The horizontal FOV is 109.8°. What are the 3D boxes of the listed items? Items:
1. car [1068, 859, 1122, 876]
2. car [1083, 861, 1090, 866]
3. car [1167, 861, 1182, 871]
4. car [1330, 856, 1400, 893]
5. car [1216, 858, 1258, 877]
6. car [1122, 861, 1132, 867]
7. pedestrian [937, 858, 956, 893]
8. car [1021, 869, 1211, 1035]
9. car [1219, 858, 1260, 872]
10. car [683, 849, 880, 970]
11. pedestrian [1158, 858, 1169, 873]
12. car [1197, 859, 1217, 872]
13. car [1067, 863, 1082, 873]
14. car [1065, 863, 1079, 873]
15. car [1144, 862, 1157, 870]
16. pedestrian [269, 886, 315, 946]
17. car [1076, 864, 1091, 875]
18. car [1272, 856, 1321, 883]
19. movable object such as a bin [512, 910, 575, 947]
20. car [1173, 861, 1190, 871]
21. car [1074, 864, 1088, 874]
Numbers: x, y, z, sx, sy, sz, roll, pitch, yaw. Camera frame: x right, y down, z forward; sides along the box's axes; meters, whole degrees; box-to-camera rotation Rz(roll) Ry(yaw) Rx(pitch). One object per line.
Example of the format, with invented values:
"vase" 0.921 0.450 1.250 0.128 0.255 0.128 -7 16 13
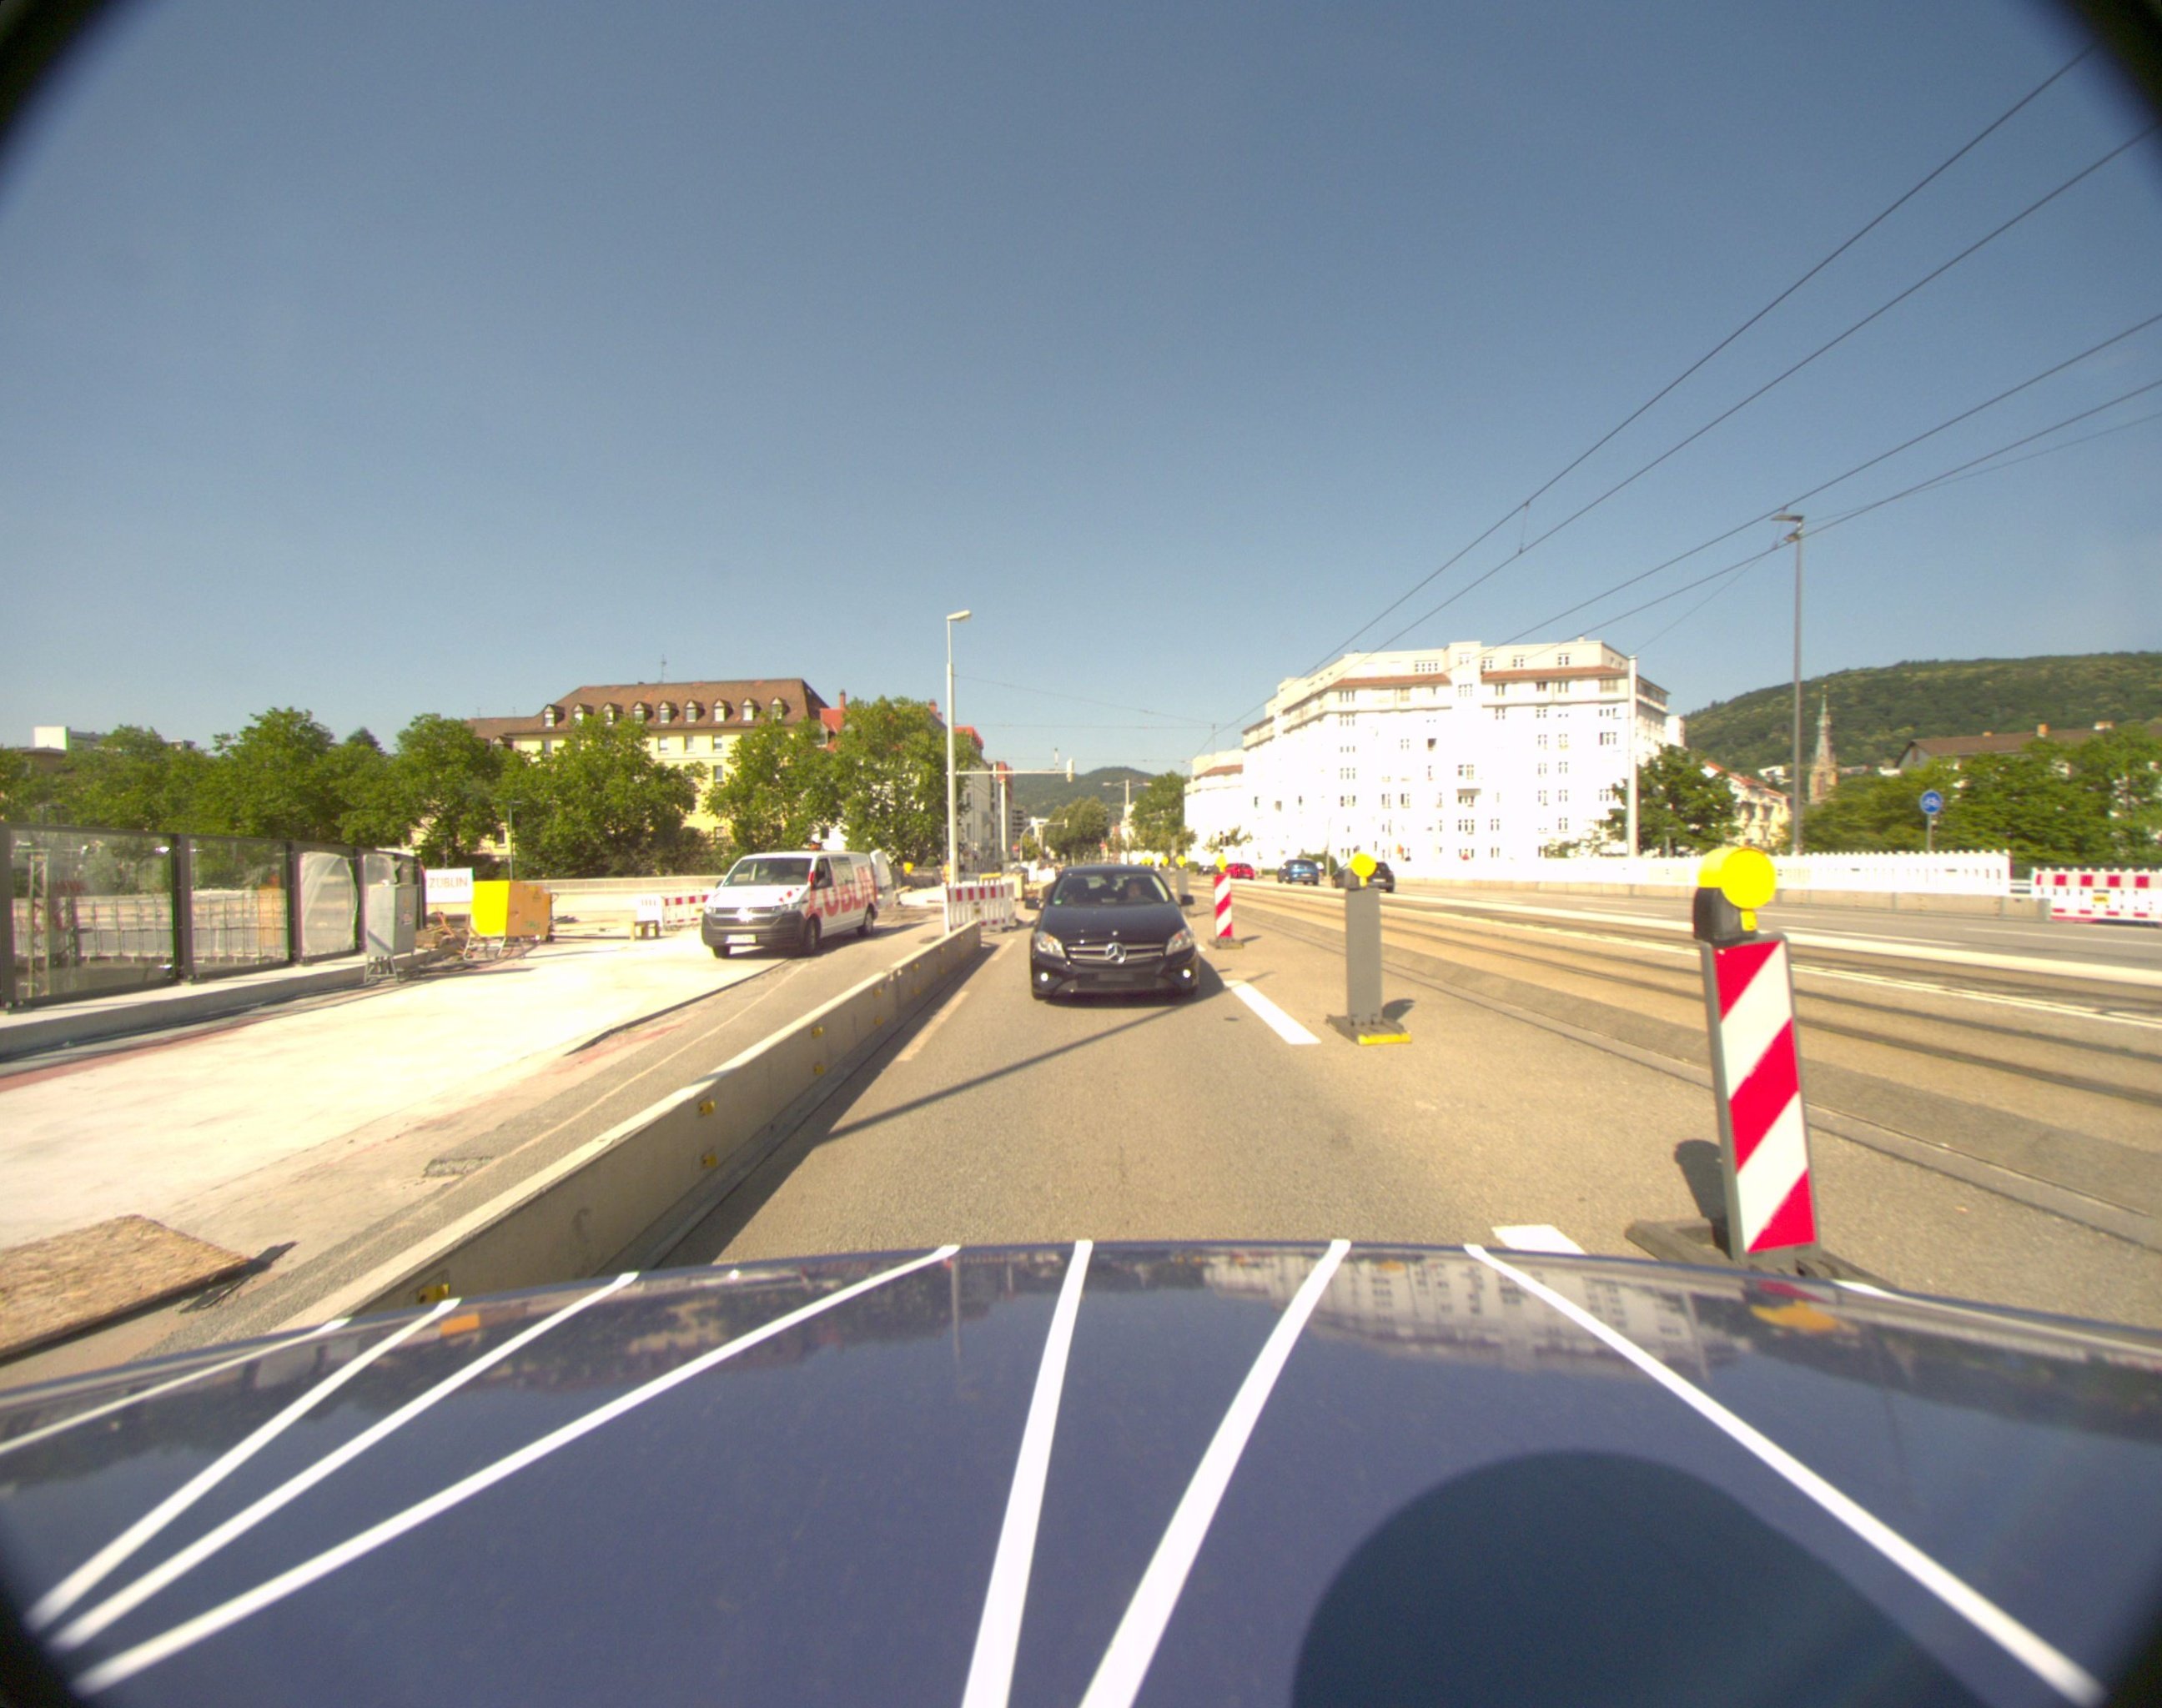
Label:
"car" 1.269 1.220 69.849 4.631 1.429 1.646 1 0 26
"car" 1.543 2.769 224.253 1.798 1.475 3.739 -1 0 -3
"car" 15.215 1.920 123.775 1.740 1.475 3.739 -1 0 -5
"car" 12.370 0.863 33.375 1.509 1.491 4.177 1 0 0
"car" 12.355 1.066 60.449 1.539 1.429 3.975 -2 0 -15
"car" 10.590 2.312 175.610 1.740 1.475 3.739 -1 0 -5
"pedestrian" -7.041 1.119 39.784 0.821 1.784 0.864 1 0 -1
"car" 0.400 0.960 9.360 1.702 1.400 4.623 -3 0 2
"car" 16.575 1.090 79.652 1.705 1.404 4.475 0 0 -31
"car" -5.809 0.962 15.544 1.883 2.021 4.891 -2 0 2
"pedestrian" 9.380 1.309 86.394 1.003 1.697 0.822 -1 1 -7
"car" 17.051 1.582 103.096 1.740 1.628 3.738 -1 0 -7
"car" -0.956 1.969 109.164 1.767 1.346 3.999 -2 -1 -4
"car" -1.379 2.156 116.826 1.768 1.346 3.998 -2 -1 -6
"car" 13.131 2.183 144.033 1.740 1.475 3.739 -1 0 -5
"pedestrian" -32.382 2.537 31.187 0.878 2.319 0.797 -6 1 -25
"car" 0.325 1.914 96.675 1.767 1.346 4.000 -2 -1 -1
"car" 13.031 0.932 46.189 1.674 1.541 4.556 0 0 0
"movable object such as a bin" -13.386 1.842 18.934 0.754 0.837 1.107 -1 -3 40
"car" 15.281 1.763 115.661 1.740 1.475 3.739 -1 0 -5
"car" -0.056 1.996 102.748 1.767 1.346 4.000 -2 -1 -2
